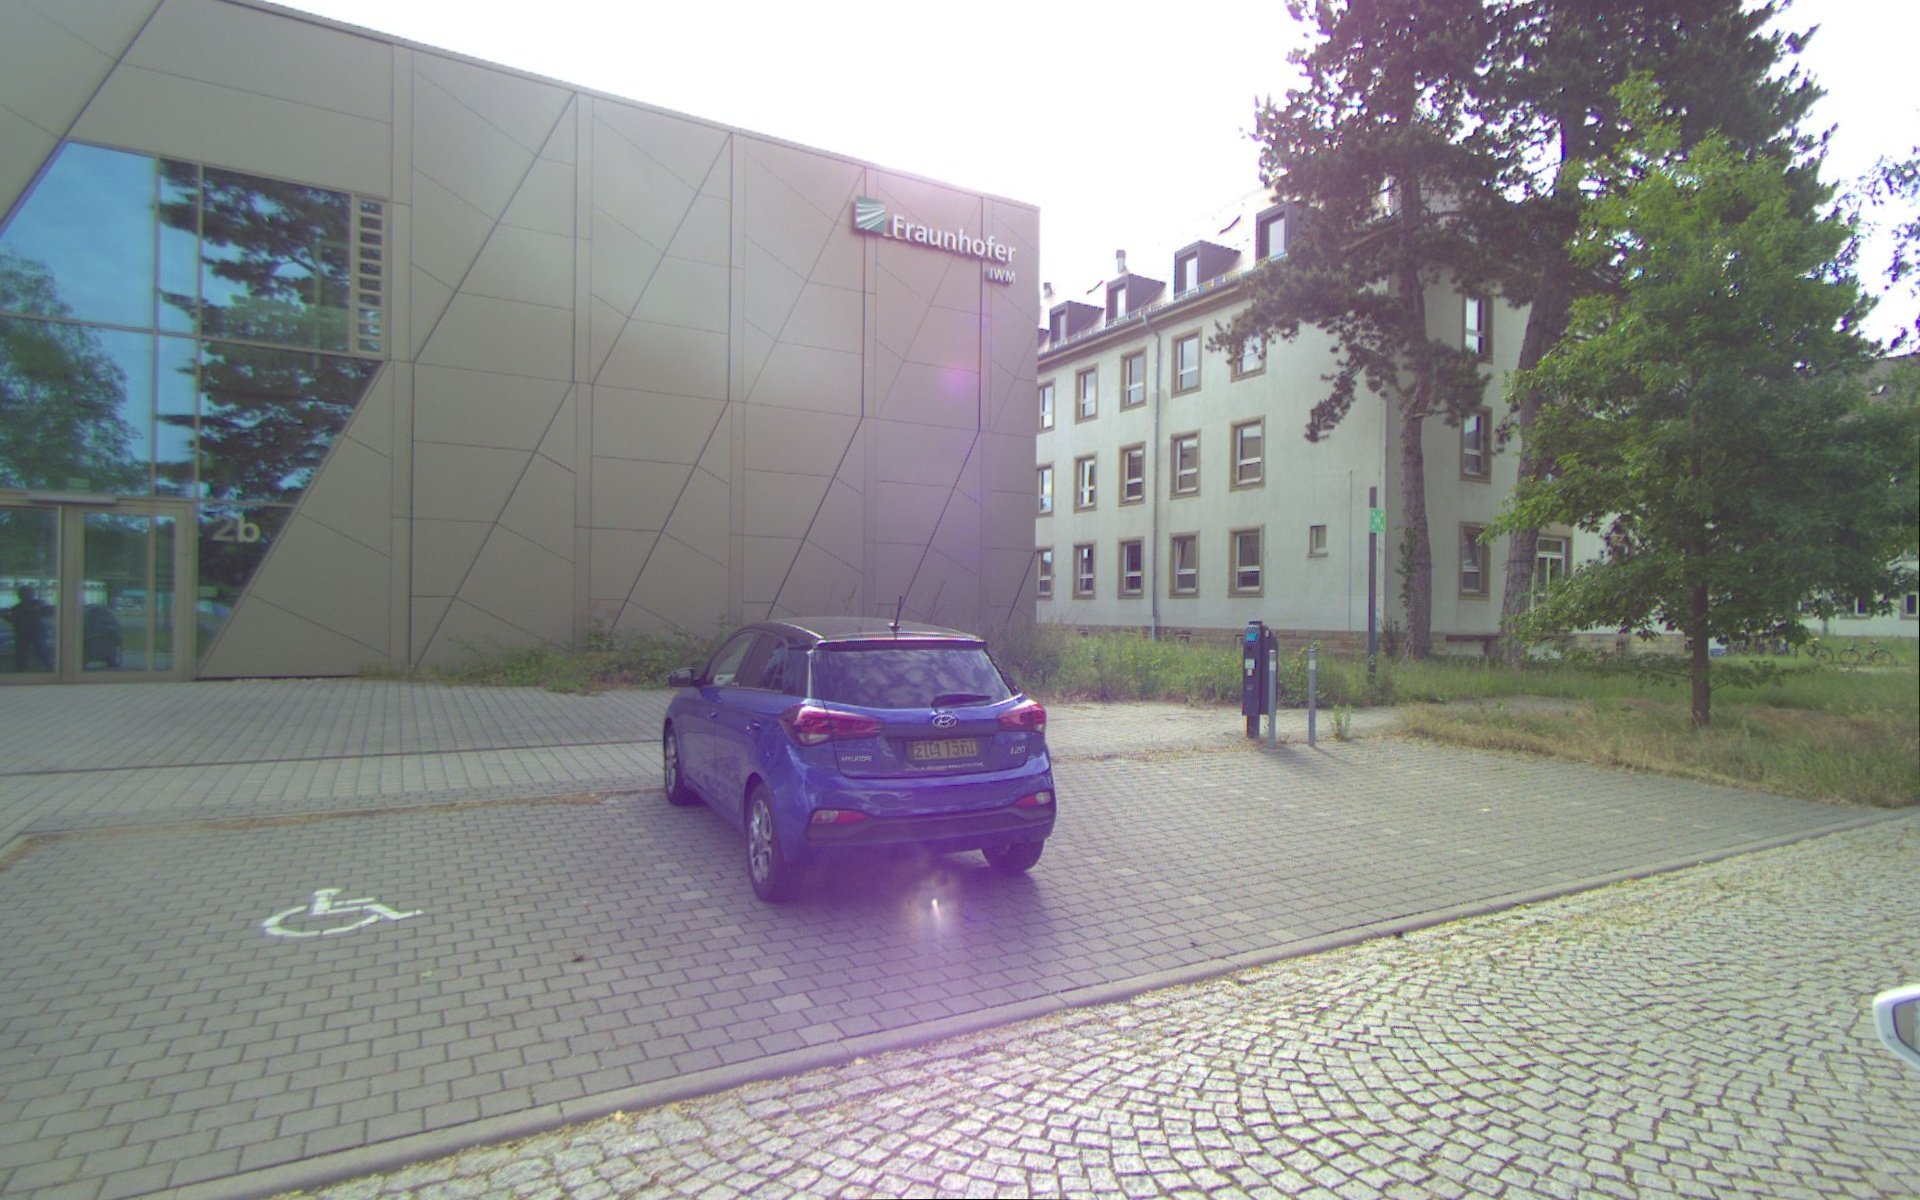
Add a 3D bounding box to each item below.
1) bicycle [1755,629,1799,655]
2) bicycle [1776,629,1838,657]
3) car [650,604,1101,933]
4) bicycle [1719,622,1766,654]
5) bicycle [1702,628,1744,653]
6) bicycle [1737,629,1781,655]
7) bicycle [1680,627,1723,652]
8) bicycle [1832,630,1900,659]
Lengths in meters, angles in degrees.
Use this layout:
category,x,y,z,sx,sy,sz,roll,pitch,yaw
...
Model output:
category,x,y,z,sx,sy,sz,roll,pitch,yaw
bicycle,35.235,1.805,43.315,2.246,1.090,0.732,1,-1,-30
bicycle,34.887,1.764,41.389,0.729,1.090,1.849,1,-1,-27
car,-0.867,0.829,6.905,1.828,1.498,3.752,1,1,-27
bicycle,34.803,1.674,44.663,2.679,1.404,0.732,1,-1,-30
bicycle,34.509,1.814,45.417,2.246,1.090,0.732,1,-1,-30
bicycle,34.858,1.813,43.835,2.246,1.090,0.732,1,-1,-30
bicycle,33.778,1.782,45.734,2.246,1.090,0.732,1,-1,-30
bicycle,35.829,1.763,39.761,0.821,1.090,1.849,1,-1,-27
